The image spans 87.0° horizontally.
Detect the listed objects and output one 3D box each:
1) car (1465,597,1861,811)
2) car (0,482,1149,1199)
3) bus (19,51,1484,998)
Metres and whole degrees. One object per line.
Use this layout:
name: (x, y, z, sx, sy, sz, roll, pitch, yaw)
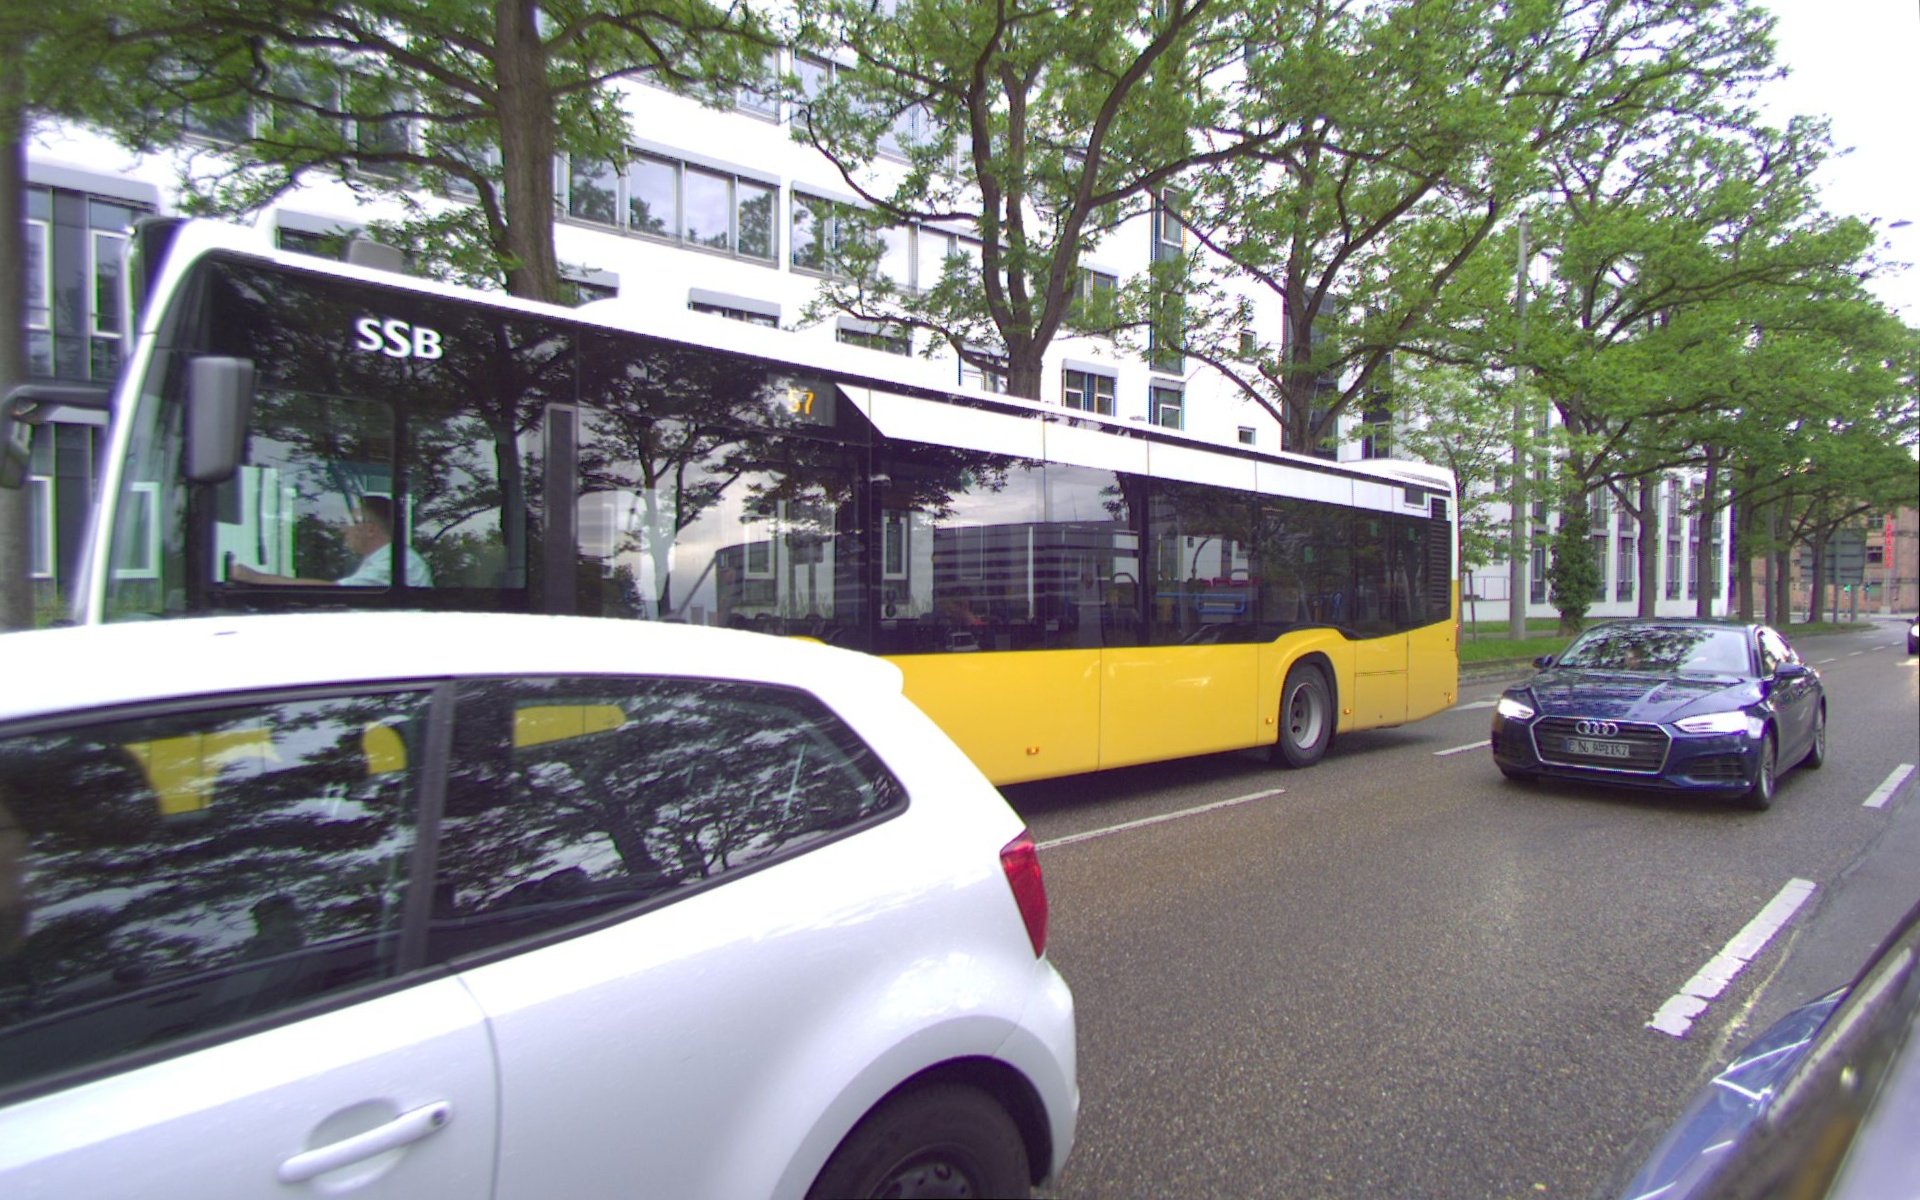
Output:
car: (6.296, 0.700, 8.867, 4.257, 1.371, 1.876, -1, 0, -41)
car: (-1.589, 0.617, 1.615, 3.745, 1.450, 1.744, -1, 0, -40)
bus: (0.456, -0.229, 8.386, 11.933, 3.192, 2.731, 0, -1, -41)
